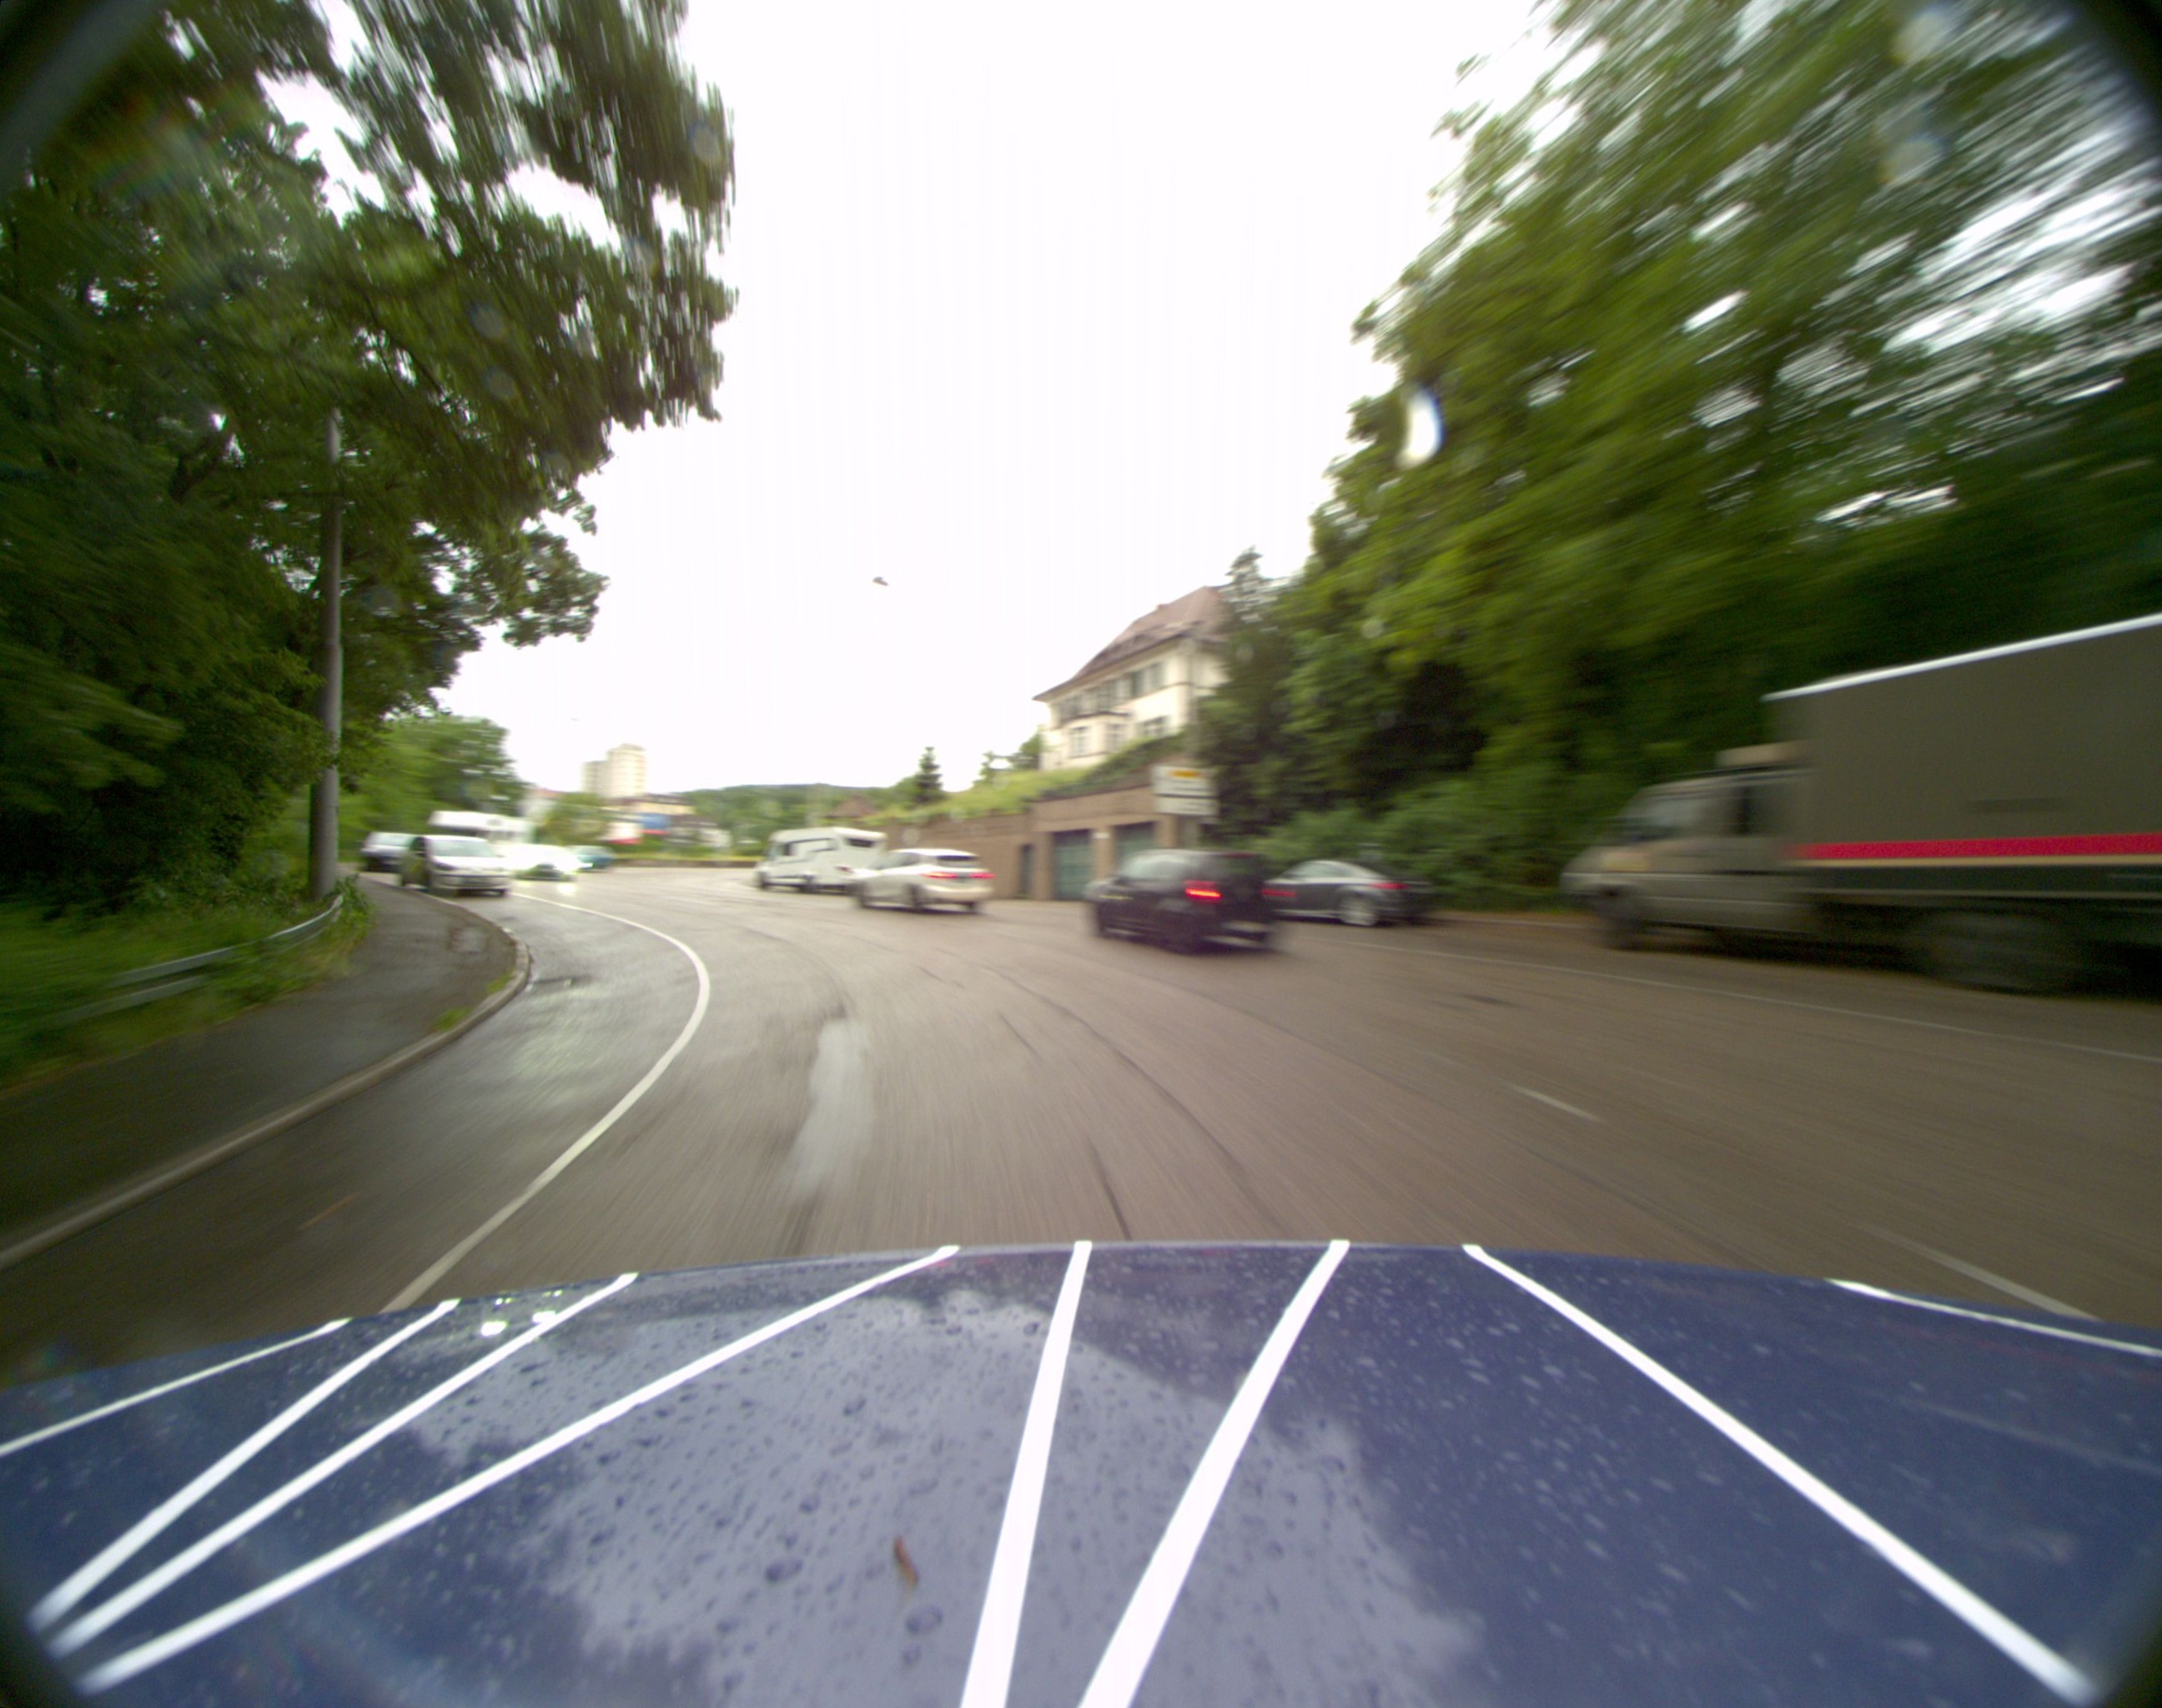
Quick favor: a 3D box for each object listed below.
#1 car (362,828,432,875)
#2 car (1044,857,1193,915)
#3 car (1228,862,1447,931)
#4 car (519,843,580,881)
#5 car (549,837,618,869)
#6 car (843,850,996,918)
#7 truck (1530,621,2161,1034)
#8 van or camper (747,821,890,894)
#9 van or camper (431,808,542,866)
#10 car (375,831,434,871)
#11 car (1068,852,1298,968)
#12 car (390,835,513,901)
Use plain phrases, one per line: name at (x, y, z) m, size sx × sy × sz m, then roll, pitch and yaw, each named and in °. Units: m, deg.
car at (-25.196, -0.084, 28.037) m, size 1.728 × 1.504 × 4.581 m, roll 5°, pitch -3°, yaw -42°
car at (0.969, 0.874, 21.934) m, size 1.708 × 1.489 × 4.517 m, roll 1°, pitch -1°, yaw -40°
car at (5.264, 0.824, 16.133) m, size 1.708 × 1.268 × 4.236 m, roll 1°, pitch -1°, yaw -34°
car at (-21.517, 0.300, 30.668) m, size 1.841 × 1.383 × 4.312 m, roll 3°, pitch -1°, yaw -37°
car at (-29.635, 0.003, 45.421) m, size 1.802 × 1.599 × 4.042 m, roll 0°, pitch -4°, yaw -7°
car at (-4.276, 0.702, 19.654) m, size 1.808 × 1.561 × 4.443 m, roll 0°, pitch 0°, yaw -43°
truck at (8.456, -0.207, 8.207) m, size 2.041 × 3.085 × 6.604 m, roll -2°, pitch 0°, yaw -15°
van or camper at (-11.364, 0.153, 32.567) m, size 7.029 × 2.771 × 2.168 m, roll 1°, pitch -3°, yaw 38°
van or camper at (-33.533, -0.854, 43.155) m, size 2.399 × 2.926 × 6.274 m, roll 4°, pitch -1°, yaw -13°
car at (-28.636, -0.106, 32.231) m, size 1.567 × 1.504 × 3.665 m, roll 5°, pitch -3°, yaw -38°
car at (1.443, 0.781, 12.389) m, size 1.768 × 1.509 × 4.078 m, roll -1°, pitch 0°, yaw -25°
car at (-16.337, 0.324, 19.670) m, size 3.655 × 1.493 × 1.594 m, roll 3°, pitch 1°, yaw 36°
